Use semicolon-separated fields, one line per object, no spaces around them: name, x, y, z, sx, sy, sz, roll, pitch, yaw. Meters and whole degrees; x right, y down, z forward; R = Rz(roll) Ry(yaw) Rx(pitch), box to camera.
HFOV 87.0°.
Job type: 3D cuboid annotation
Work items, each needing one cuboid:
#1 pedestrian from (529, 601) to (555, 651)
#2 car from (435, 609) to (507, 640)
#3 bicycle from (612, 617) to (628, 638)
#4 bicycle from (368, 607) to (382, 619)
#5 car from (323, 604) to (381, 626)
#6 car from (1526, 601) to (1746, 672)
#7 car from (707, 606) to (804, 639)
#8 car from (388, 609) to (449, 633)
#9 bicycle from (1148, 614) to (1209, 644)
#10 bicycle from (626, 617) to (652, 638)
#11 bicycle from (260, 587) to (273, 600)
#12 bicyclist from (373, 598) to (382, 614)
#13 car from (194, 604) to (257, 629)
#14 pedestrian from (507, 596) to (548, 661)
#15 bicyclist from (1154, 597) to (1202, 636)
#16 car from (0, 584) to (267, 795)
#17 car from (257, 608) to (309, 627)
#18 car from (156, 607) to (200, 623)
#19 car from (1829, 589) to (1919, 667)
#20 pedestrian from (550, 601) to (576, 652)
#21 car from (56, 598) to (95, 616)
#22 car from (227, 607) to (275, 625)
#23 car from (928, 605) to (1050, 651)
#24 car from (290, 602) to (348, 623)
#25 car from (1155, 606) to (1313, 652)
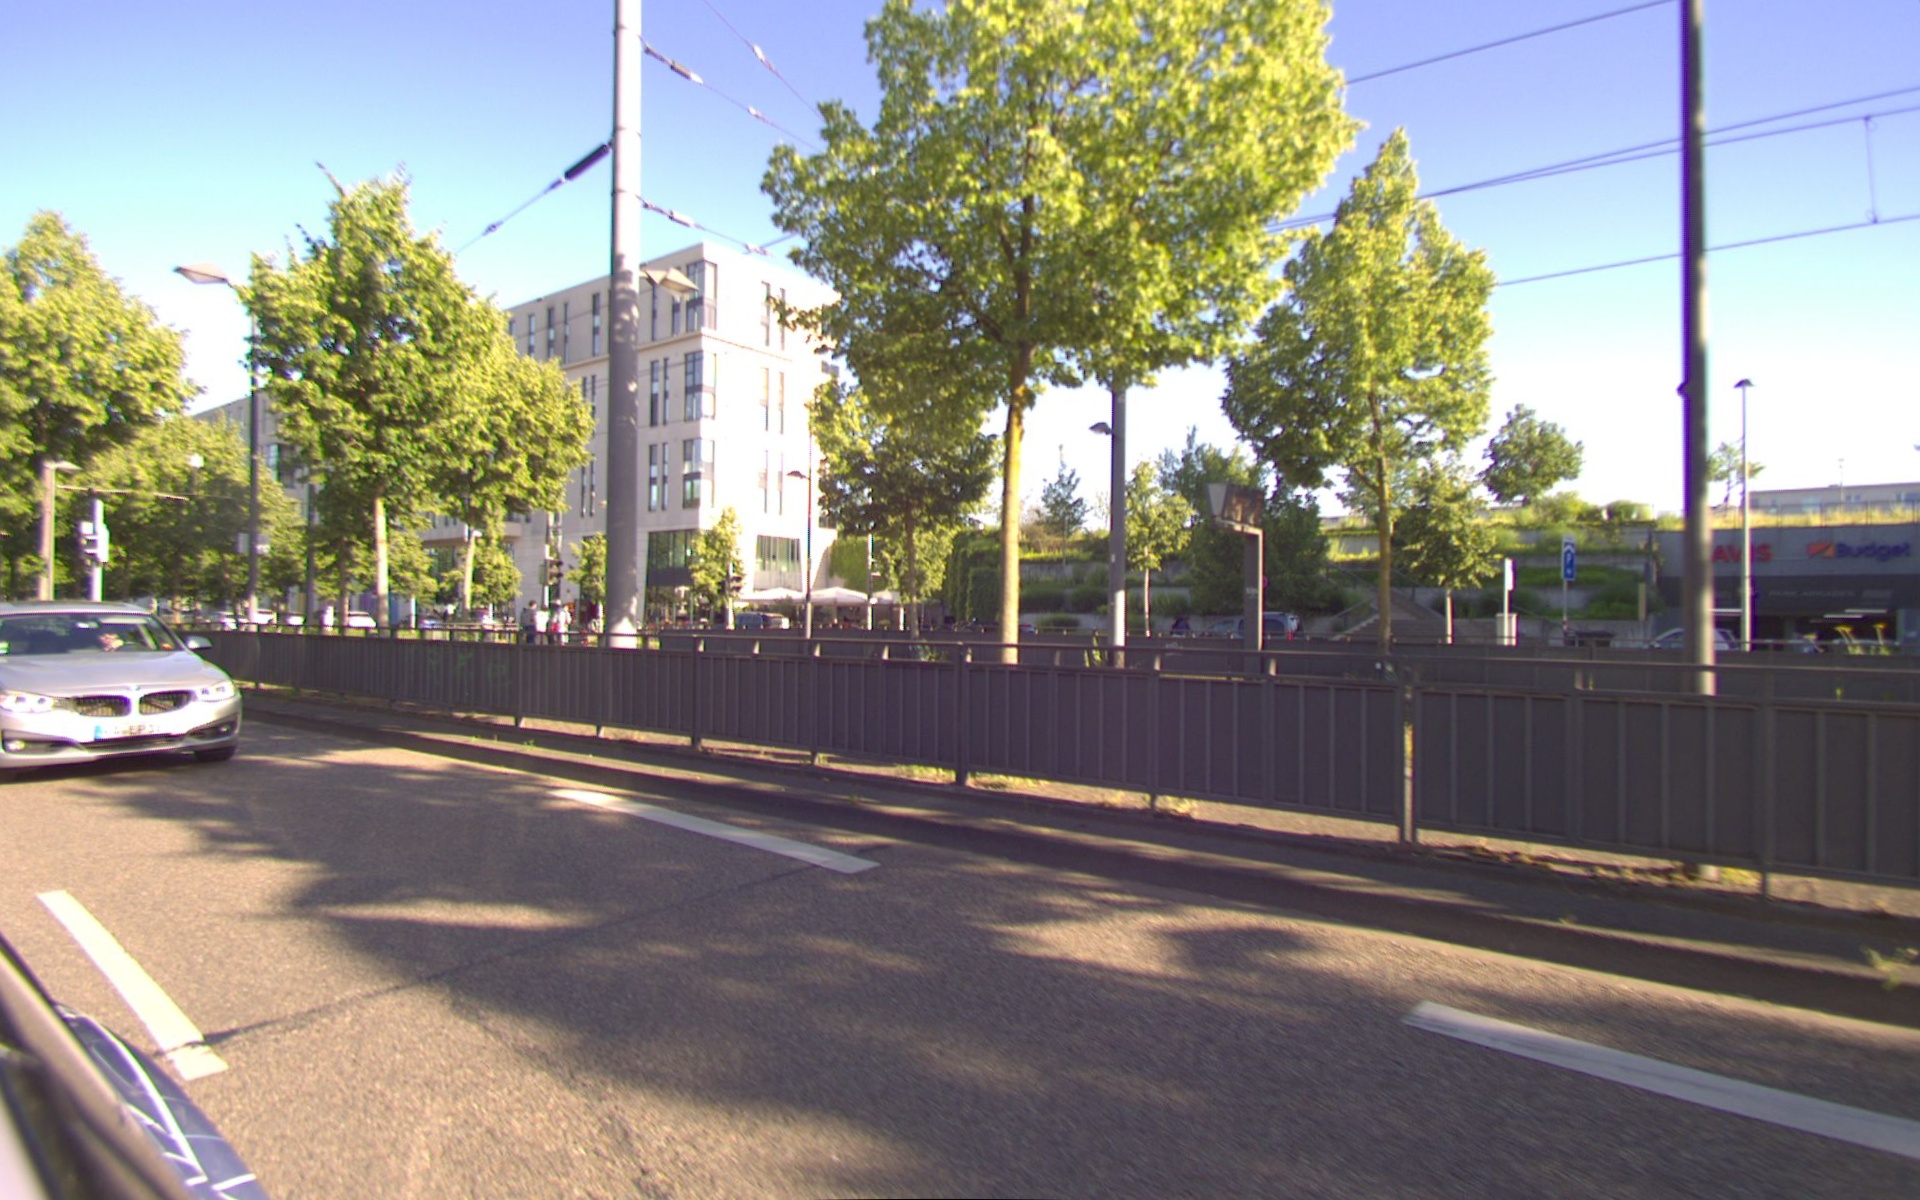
pedestrian;-12.872;0.788;31.172;0.588;1.529;0.544;0;1;42
car;-30.350;1.471;62.780;4.766;1.785;1.976;0;1;35
bicycle;-21.899;1.764;65.248;0.580;1.262;1.845;-1;1;-31
bicycle;-48.201;1.073;83.346;1.798;1.024;0.375;0;1;39
car;-44.337;1.063;73.766;4.446;1.452;1.976;0;1;35
car;17.422;0.874;26.186;4.605;1.620;1.974;0;1;39
car;-9.448;1.013;46.569;4.605;1.445;1.861;0;-1;39
car;-35.694;1.364;66.671;4.259;1.452;1.939;0;1;38
bicycle;8.007;1.047;37.132;2.185;1.008;0.492;0;1;37
bicycle;-20.290;1.755;63.981;1.837;1.262;0.582;0;1;37
bicycle;-69.654;-0.692;101.636;1.605;1.290;0.593;0;1;35
bicyclist;-47.770;0.455;82.988;0.718;1.313;0.364;0;1;39
car;-45.490;0.994;62.669;3.991;1.497;1.976;0;1;35
pedestrian;-12.500;0.801;29.241;0.724;1.849;0.813;0;1;35
bicyclist;7.998;0.598;37.136;1.658;1.416;0.484;0;1;37
car;-8.430;0.655;9.608;4.272;1.590;1.864;0;1;38
car;-53.811;1.361;80.441;4.446;1.452;1.976;0;1;35
car;-75.241;1.410;97.332;4.914;1.452;1.976;0;1;35
car;22.177;0.609;22.209;4.605;1.684;1.974;0;1;39
pedestrian;-12.145;0.802;30.951;0.603;1.508;0.537;0;1;41
car;-76.771;0.617;87.840;4.163;1.583;1.973;0;-1;40
car;-58.824;1.311;83.924;4.449;1.452;1.975;0;1;37
car;1.094;1.026;39.552;4.605;1.633;1.861;0;1;39
car;-48.649;0.925;76.781;4.925;1.452;1.976;0;1;35
car;8.837;0.895;32.794;4.605;1.335;1.894;0;1;39
